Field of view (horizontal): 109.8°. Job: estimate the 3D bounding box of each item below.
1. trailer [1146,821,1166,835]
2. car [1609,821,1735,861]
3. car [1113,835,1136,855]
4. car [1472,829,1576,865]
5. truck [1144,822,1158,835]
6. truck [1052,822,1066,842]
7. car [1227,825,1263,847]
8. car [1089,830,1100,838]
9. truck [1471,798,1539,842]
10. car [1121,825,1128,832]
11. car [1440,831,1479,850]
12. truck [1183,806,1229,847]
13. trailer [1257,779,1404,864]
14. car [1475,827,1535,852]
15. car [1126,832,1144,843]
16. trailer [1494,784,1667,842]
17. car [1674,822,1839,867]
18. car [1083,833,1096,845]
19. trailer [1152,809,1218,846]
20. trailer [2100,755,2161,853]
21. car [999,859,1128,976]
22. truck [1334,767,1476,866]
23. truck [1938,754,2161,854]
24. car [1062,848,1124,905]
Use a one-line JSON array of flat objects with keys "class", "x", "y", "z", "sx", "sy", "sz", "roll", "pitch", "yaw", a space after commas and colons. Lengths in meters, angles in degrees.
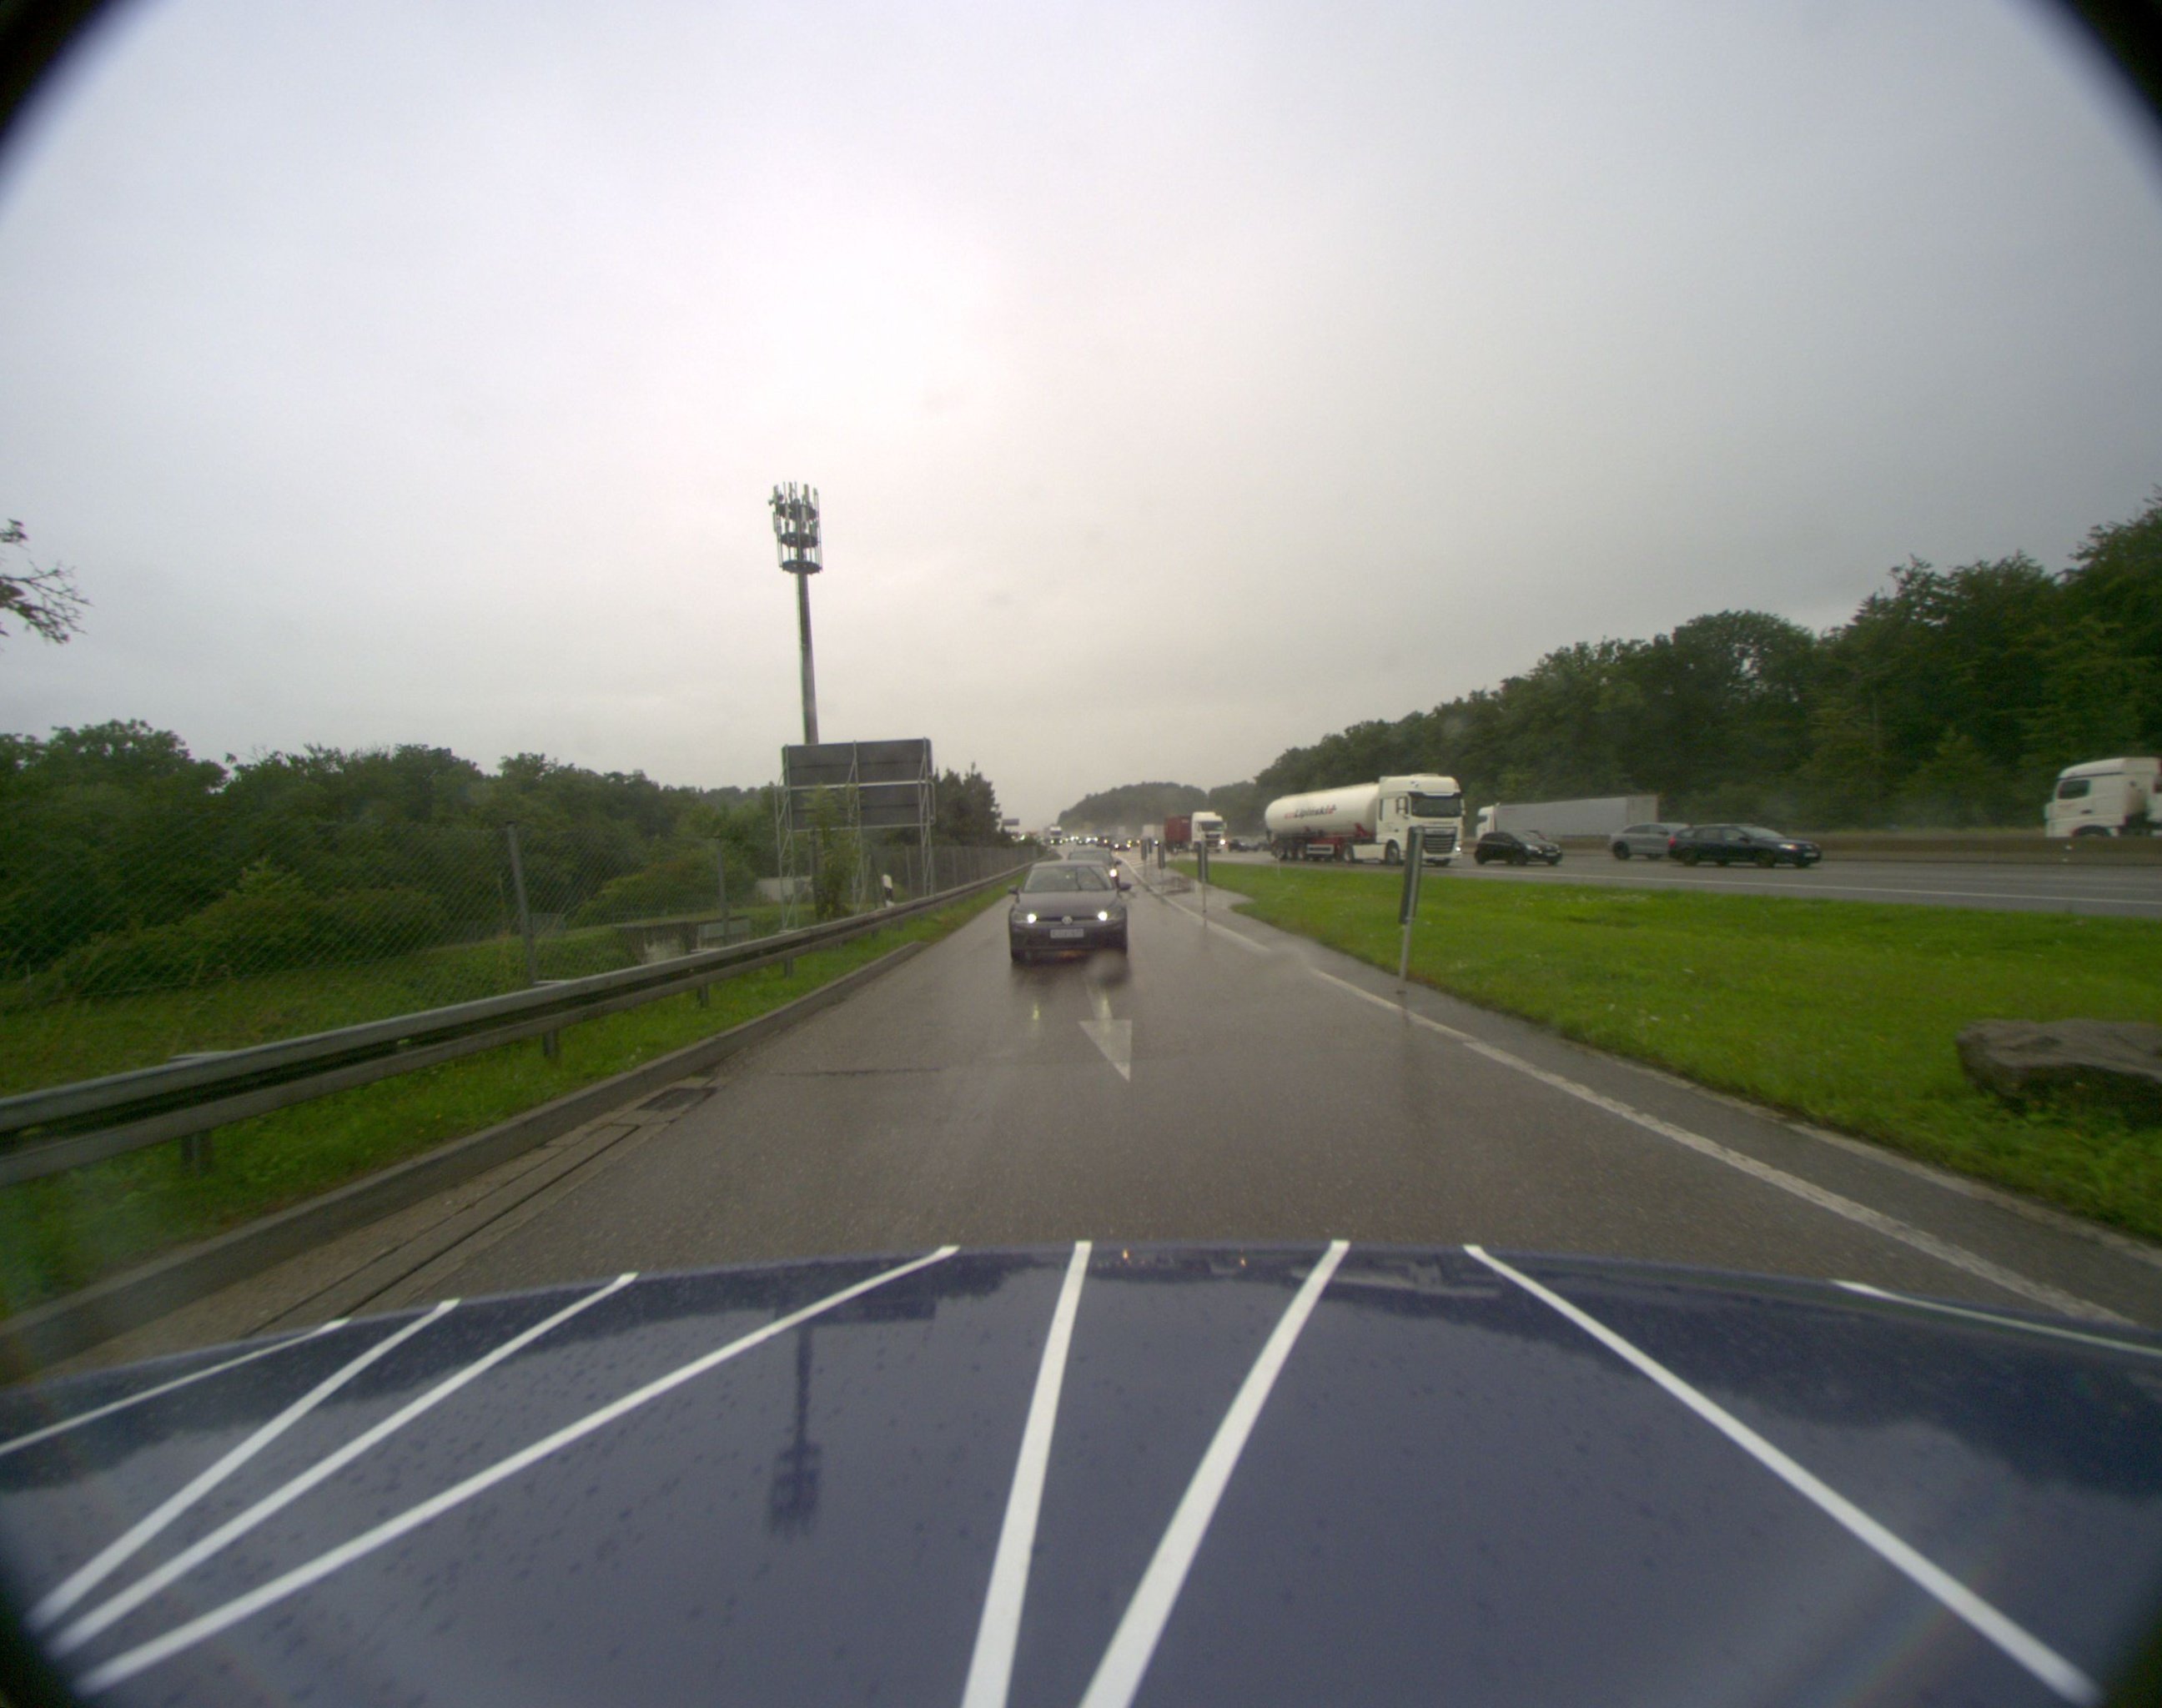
[{"class": "trailer", "x": 20.270, "y": -6.919, "z": 205.601, "sx": 2.656, "sy": 3.478, "sz": 13.475, "roll": -2, "pitch": 2, "yaw": -6}, {"class": "car", "x": 26.355, "y": -0.578, "z": 34.093, "sx": 1.824, "sy": 1.659, "sz": 4.400, "roll": -1, "pitch": 1, "yaw": -9}, {"class": "car", "x": 5.212, "y": -1.137, "z": 91.726, "sx": 1.918, "sy": 2.003, "sz": 3.995, "roll": -8, "pitch": 4, "yaw": -5}, {"class": "car", "x": 18.723, "y": -0.315, "z": 32.332, "sx": 1.823, "sy": 1.365, "sz": 3.997, "roll": -2, "pitch": 1, "yaw": -6}, {"class": "truck", "x": 19.538, "y": -7.081, "z": 212.716, "sx": 2.654, "sy": 3.432, "sz": 5.597, "roll": -2, "pitch": 2, "yaw": -6}, {"class": "truck", "x": -4.863, "y": -4.696, "z": 163.904, "sx": 2.597, "sy": 4.121, "sz": 5.228, "roll": -5, "pitch": 1, "yaw": -2}, {"class": "car", "x": 15.848, "y": -1.729, "z": 73.661, "sx": 2.000, "sy": 2.002, "sz": 4.108, "roll": -3, "pitch": 2, "yaw": -9}, {"class": "car", "x": 3.008, "y": -4.366, "z": 167.365, "sx": 1.797, "sy": 1.499, "sz": 3.996, "roll": -1, "pitch": 0, "yaw": -9}, {"class": "truck", "x": 38.804, "y": -3.027, "z": 69.683, "sx": 2.723, "sy": 3.514, "sz": 4.758, "roll": -6, "pitch": 1, "yaw": -10}, {"class": "car", "x": 14.766, "y": -8.512, "z": 257.693, "sx": 1.998, "sy": 2.153, "sz": 4.274, "roll": -5, "pitch": 2, "yaw": 1}, {"class": "car", "x": 34.908, "y": -1.261, "z": 70.100, "sx": 1.414, "sy": 1.324, "sz": 3.279, "roll": -8, "pitch": -2, "yaw": -11}, {"class": "truck", "x": 12.221, "y": -2.689, "z": 74.488, "sx": 2.698, "sy": 3.636, "sz": 5.320, "roll": -5, "pitch": 2, "yaw": -8}, {"class": "trailer", "x": 13.145, "y": -1.638, "z": 41.530, "sx": 2.771, "sy": 4.003, "sz": 11.030, "roll": -1, "pitch": 1, "yaw": -10}, {"class": "car", "x": 30.977, "y": -1.026, "z": 55.630, "sx": 1.648, "sy": 1.356, "sz": 3.719, "roll": -8, "pitch": -1, "yaw": -11}, {"class": "car", "x": 8.831, "y": -2.726, "z": 123.923, "sx": 1.789, "sy": 1.550, "sz": 4.094, "roll": -2, "pitch": 0, "yaw": -12}, {"class": "trailer", "x": 40.095, "y": -3.122, "z": 62.177, "sx": 2.733, "sy": 3.518, "sz": 14.048, "roll": -6, "pitch": 0, "yaw": -10}, {"class": "car", "x": 23.714, "y": -0.334, "z": 26.895, "sx": 1.824, "sy": 1.406, "sz": 4.120, "roll": -2, "pitch": 1, "yaw": -9}, {"class": "car", "x": 1.728, "y": -3.015, "z": 152.490, "sx": 1.918, "sy": 2.003, "sz": 3.995, "roll": -8, "pitch": 4, "yaw": -5}, {"class": "trailer", "x": 11.019, "y": -2.803, "z": 82.760, "sx": 2.692, "sy": 3.486, "sz": 15.110, "roll": -5, "pitch": 2, "yaw": -8}, {"class": "trailer", "x": 42.666, "y": -2.027, "z": 22.828, "sx": 2.623, "sy": 3.659, "sz": 14.659, "roll": -5, "pitch": 1, "yaw": -10}, {"class": "car", "x": -0.236, "y": 0.868, "z": 12.289, "sx": 1.670, "sy": 1.395, "sz": 4.260, "roll": -2, "pitch": 1, "yaw": 0}, {"class": "truck", "x": 14.349, "y": -1.596, "z": 34.294, "sx": 2.759, "sy": 3.986, "sz": 6.501, "roll": -3, "pitch": 1, "yaw": -10}, {"class": "truck", "x": 41.019, "y": -1.967, "z": 31.936, "sx": 2.631, "sy": 3.649, "sz": 5.987, "roll": -5, "pitch": 1, "yaw": -10}, {"class": "car", "x": 0.425, "y": 0.681, "z": 25.625, "sx": 1.810, "sy": 1.532, "sz": 3.999, "roll": -6, "pitch": 2, "yaw": 2}]
